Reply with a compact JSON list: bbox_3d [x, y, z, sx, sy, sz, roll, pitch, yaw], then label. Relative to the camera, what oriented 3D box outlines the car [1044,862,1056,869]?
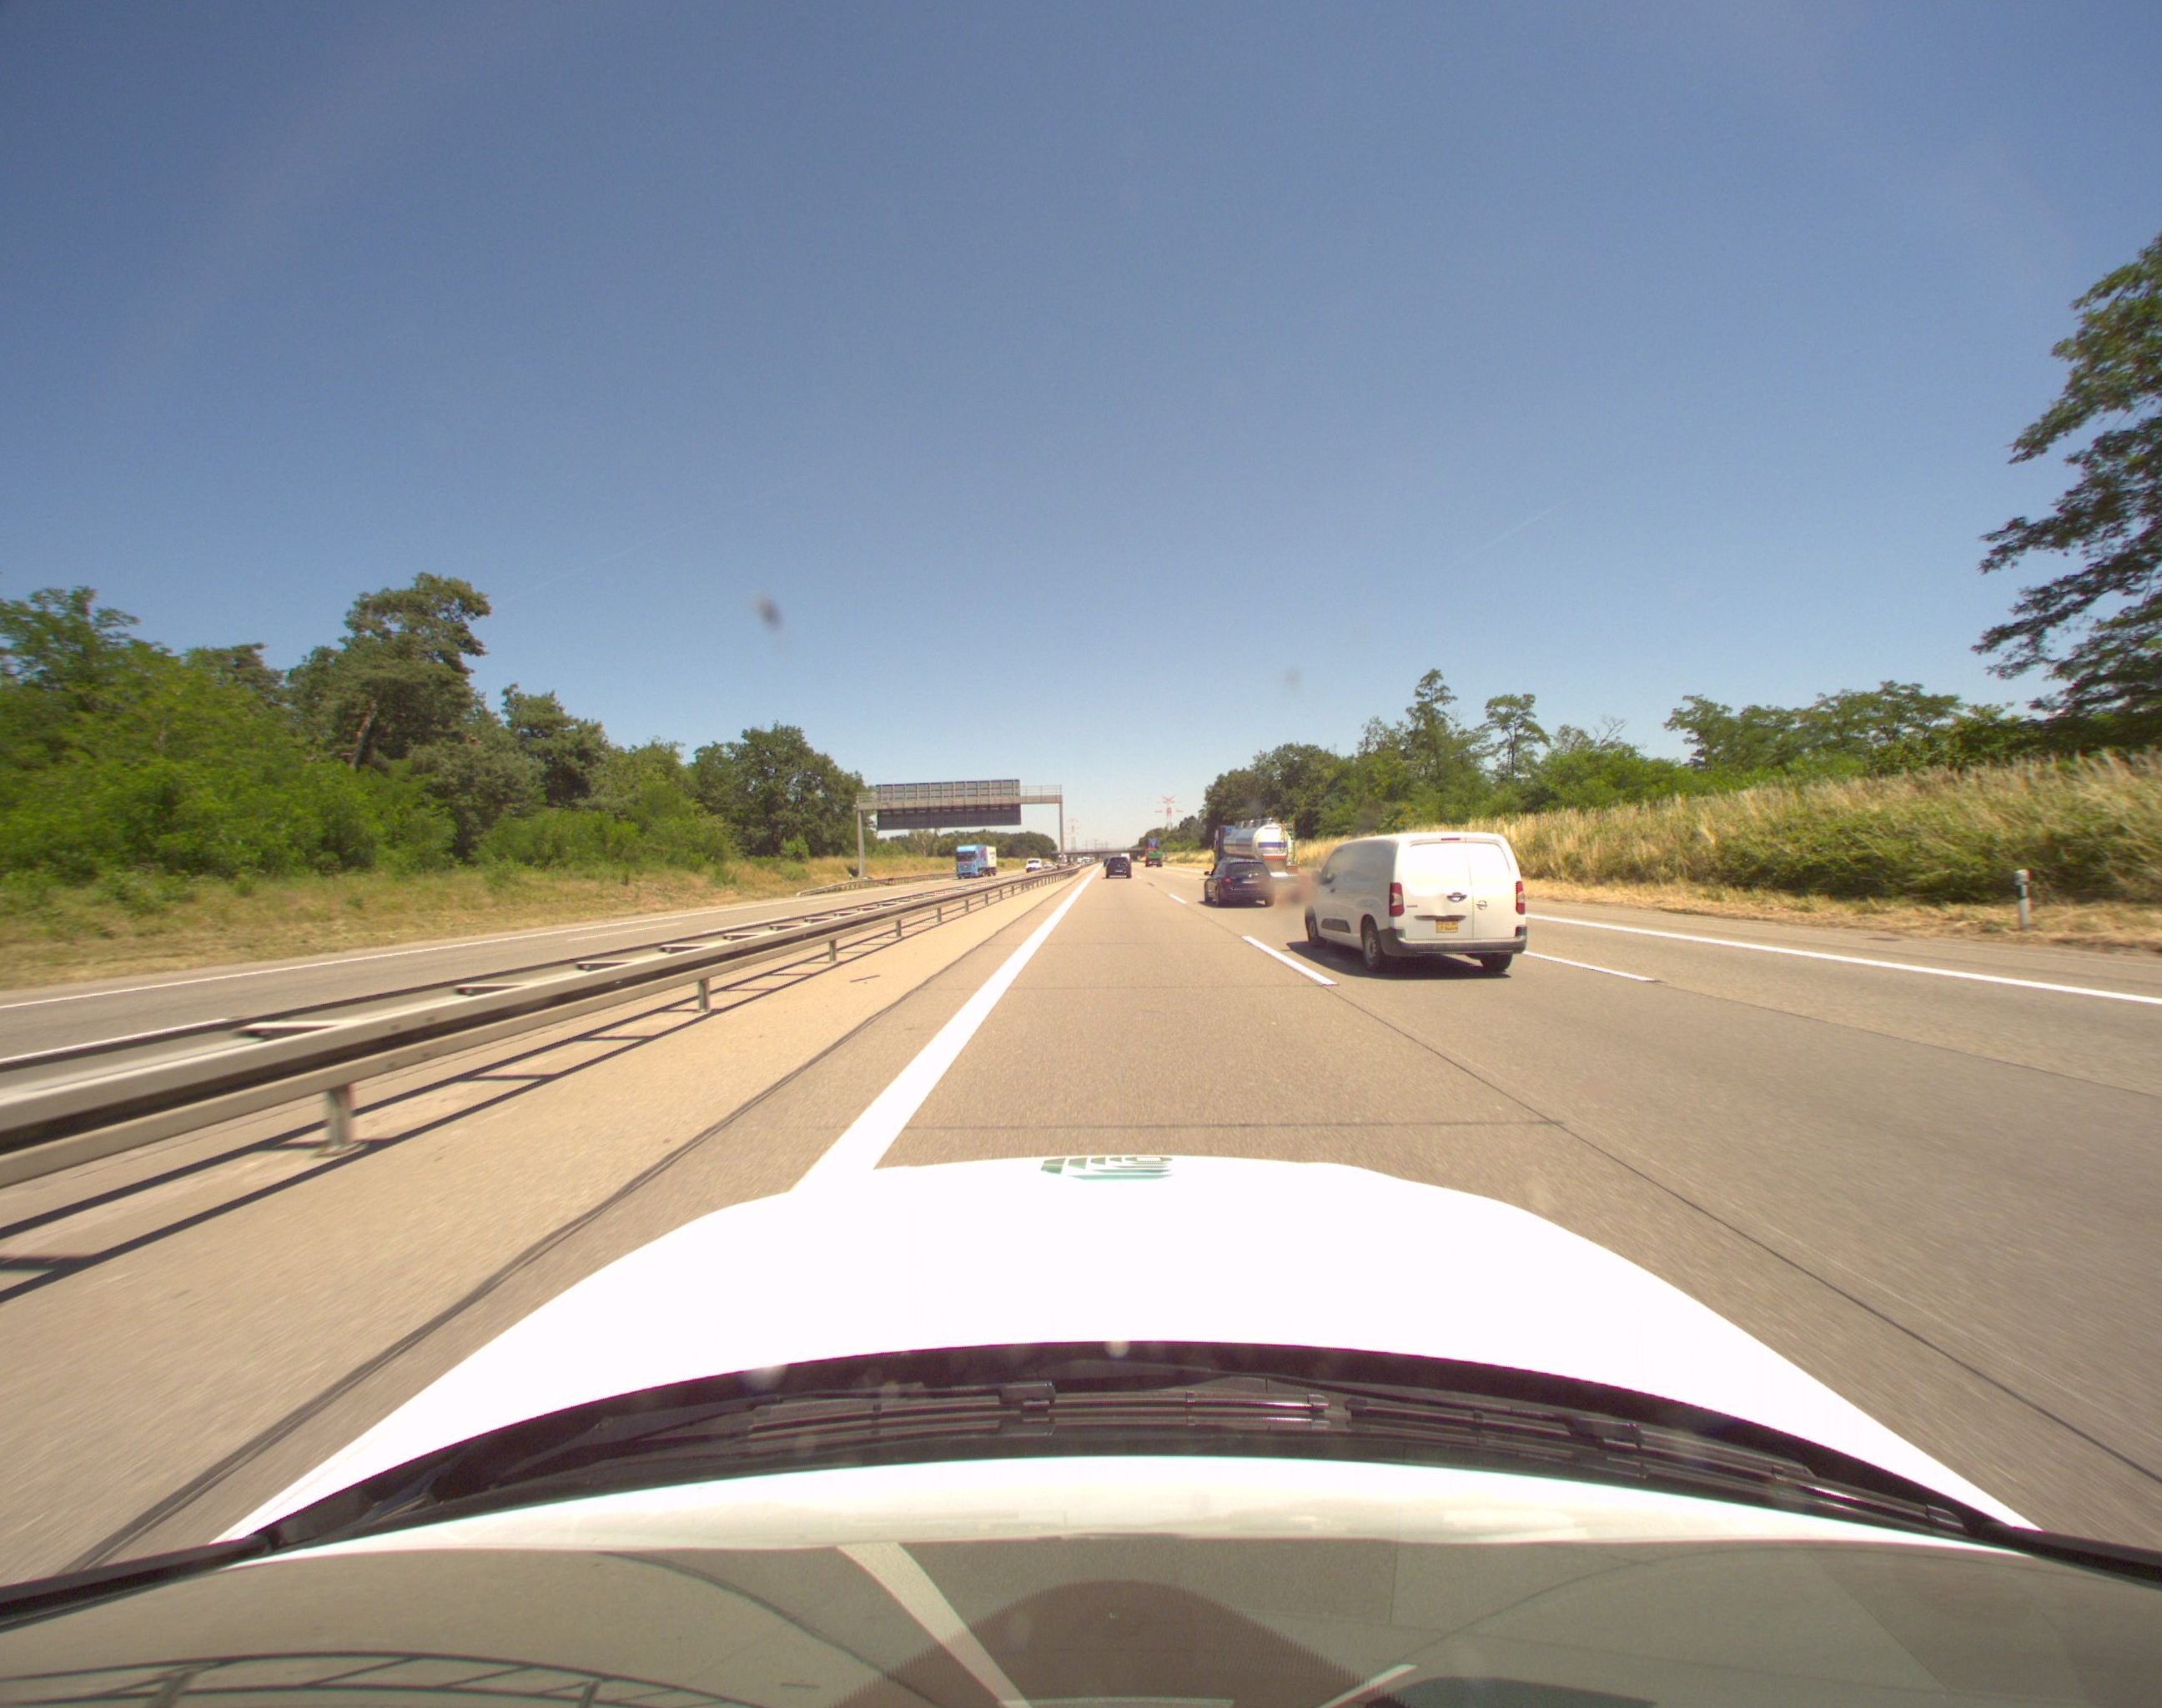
[{"bbox_3d":[-6.555,2.392,172.294,1.798,1.396,4.486,-3,-1,5],"label":"car"}]

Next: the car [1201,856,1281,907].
[{"bbox_3d":[5.025,0.815,26.120,1.795,1.483,4.272,0,0,1],"label":"car"}]

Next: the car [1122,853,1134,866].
[{"bbox_3d":[10.432,1.191,180.429,2.611,2.759,6.099,0,0,2],"label":"car"}]

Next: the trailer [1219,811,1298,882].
[{"bbox_3d":[10.318,-0.357,48.585,2.519,3.734,11.553,0,0,2],"label":"trailer"}]

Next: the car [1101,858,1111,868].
[{"bbox_3d":[4.625,1.657,152.241,1.787,1.750,4.001,0,0,2],"label":"car"}]

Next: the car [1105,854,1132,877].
[{"bbox_3d":[2.900,0.871,63.782,1.986,1.750,4.001,0,0,2],"label":"car"}]

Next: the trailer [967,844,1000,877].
[{"bbox_3d":[-13.334,0.852,112.032,3.046,4.283,8.638,-2,0,2],"label":"trailer"}]

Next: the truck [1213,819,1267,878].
[{"bbox_3d":[10.515,-0.317,54.375,2.519,3.734,6.101,0,-1,2],"label":"truck"}]

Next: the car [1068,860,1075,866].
[{"bbox_3d":[-2.924,2.744,250.877,1.955,1.525,5.291,-3,-1,1],"label":"car"}]

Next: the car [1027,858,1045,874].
[{"bbox_3d":[-5.822,1.493,104.932,1.825,1.854,5.238,-3,-1,1],"label":"car"}]

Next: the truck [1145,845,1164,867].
[{"bbox_3d":[13.446,0.421,149.887,2.670,3.798,12.483,0,0,2],"label":"truck"}]

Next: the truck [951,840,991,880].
[{"bbox_3d":[-13.585,0.769,101.517,3.046,4.558,10.463,-3,0,2],"label":"truck"}]

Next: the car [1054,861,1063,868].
[{"bbox_3d":[-5.988,2.783,219.115,1.955,1.718,5.291,-3,-1,1],"label":"car"}]

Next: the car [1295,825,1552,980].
[{"bbox_3d":[4.688,0.587,12.078,1.859,1.817,4.942,0,0,2],"label":"car"}]
